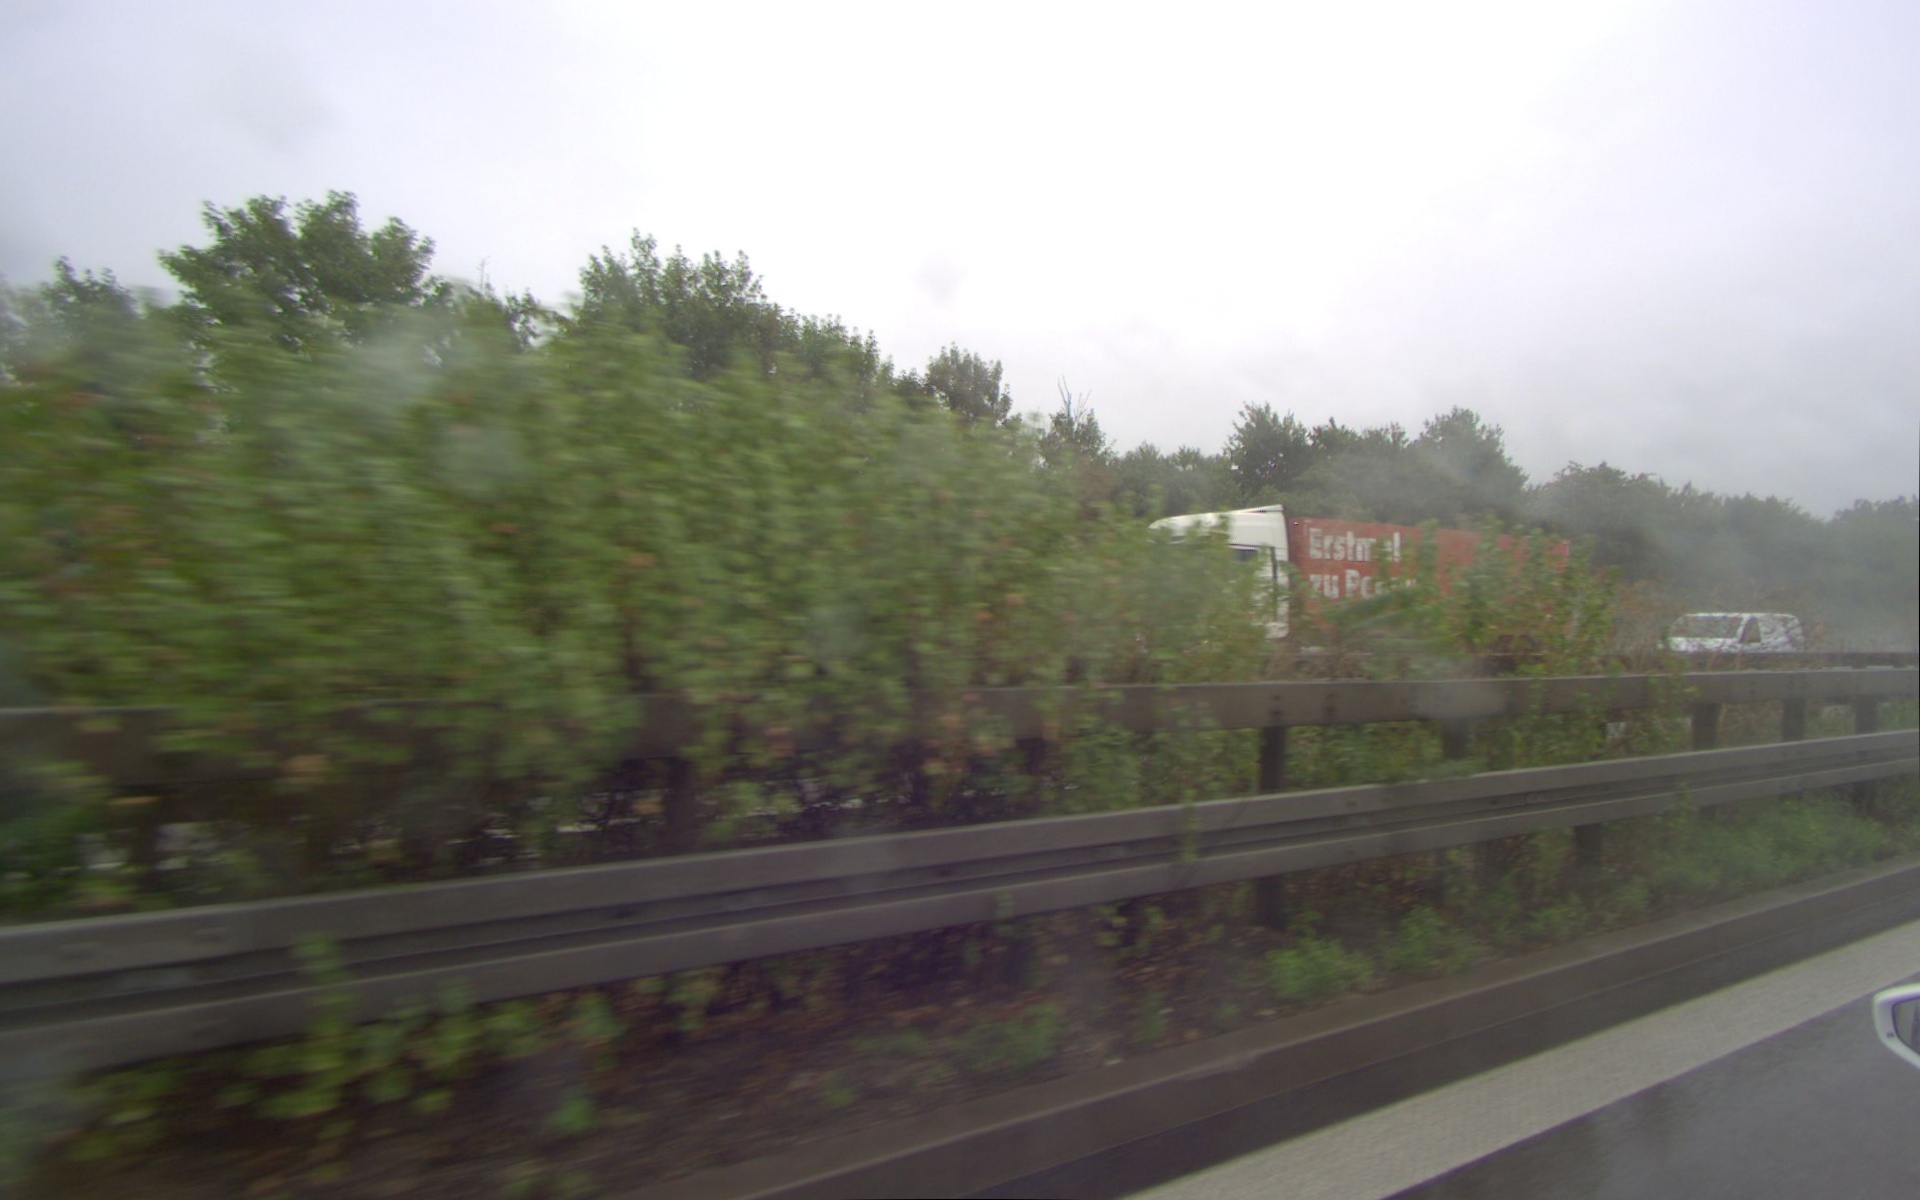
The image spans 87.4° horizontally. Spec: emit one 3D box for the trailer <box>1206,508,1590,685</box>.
[{"bbox_3d":[11.802,0.061,26.193,12.070,3.882,2.586,1,0,-31],"label":"trailer"}]

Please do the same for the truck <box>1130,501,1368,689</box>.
[{"bbox_3d":[6.675,-0.053,23.160,4.917,3.882,2.572,1,0,-30],"label":"truck"}]

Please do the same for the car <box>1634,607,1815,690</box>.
[{"bbox_3d":[20.191,1.237,26.474,5.331,1.996,1.983,1,-1,-31],"label":"car"}]
